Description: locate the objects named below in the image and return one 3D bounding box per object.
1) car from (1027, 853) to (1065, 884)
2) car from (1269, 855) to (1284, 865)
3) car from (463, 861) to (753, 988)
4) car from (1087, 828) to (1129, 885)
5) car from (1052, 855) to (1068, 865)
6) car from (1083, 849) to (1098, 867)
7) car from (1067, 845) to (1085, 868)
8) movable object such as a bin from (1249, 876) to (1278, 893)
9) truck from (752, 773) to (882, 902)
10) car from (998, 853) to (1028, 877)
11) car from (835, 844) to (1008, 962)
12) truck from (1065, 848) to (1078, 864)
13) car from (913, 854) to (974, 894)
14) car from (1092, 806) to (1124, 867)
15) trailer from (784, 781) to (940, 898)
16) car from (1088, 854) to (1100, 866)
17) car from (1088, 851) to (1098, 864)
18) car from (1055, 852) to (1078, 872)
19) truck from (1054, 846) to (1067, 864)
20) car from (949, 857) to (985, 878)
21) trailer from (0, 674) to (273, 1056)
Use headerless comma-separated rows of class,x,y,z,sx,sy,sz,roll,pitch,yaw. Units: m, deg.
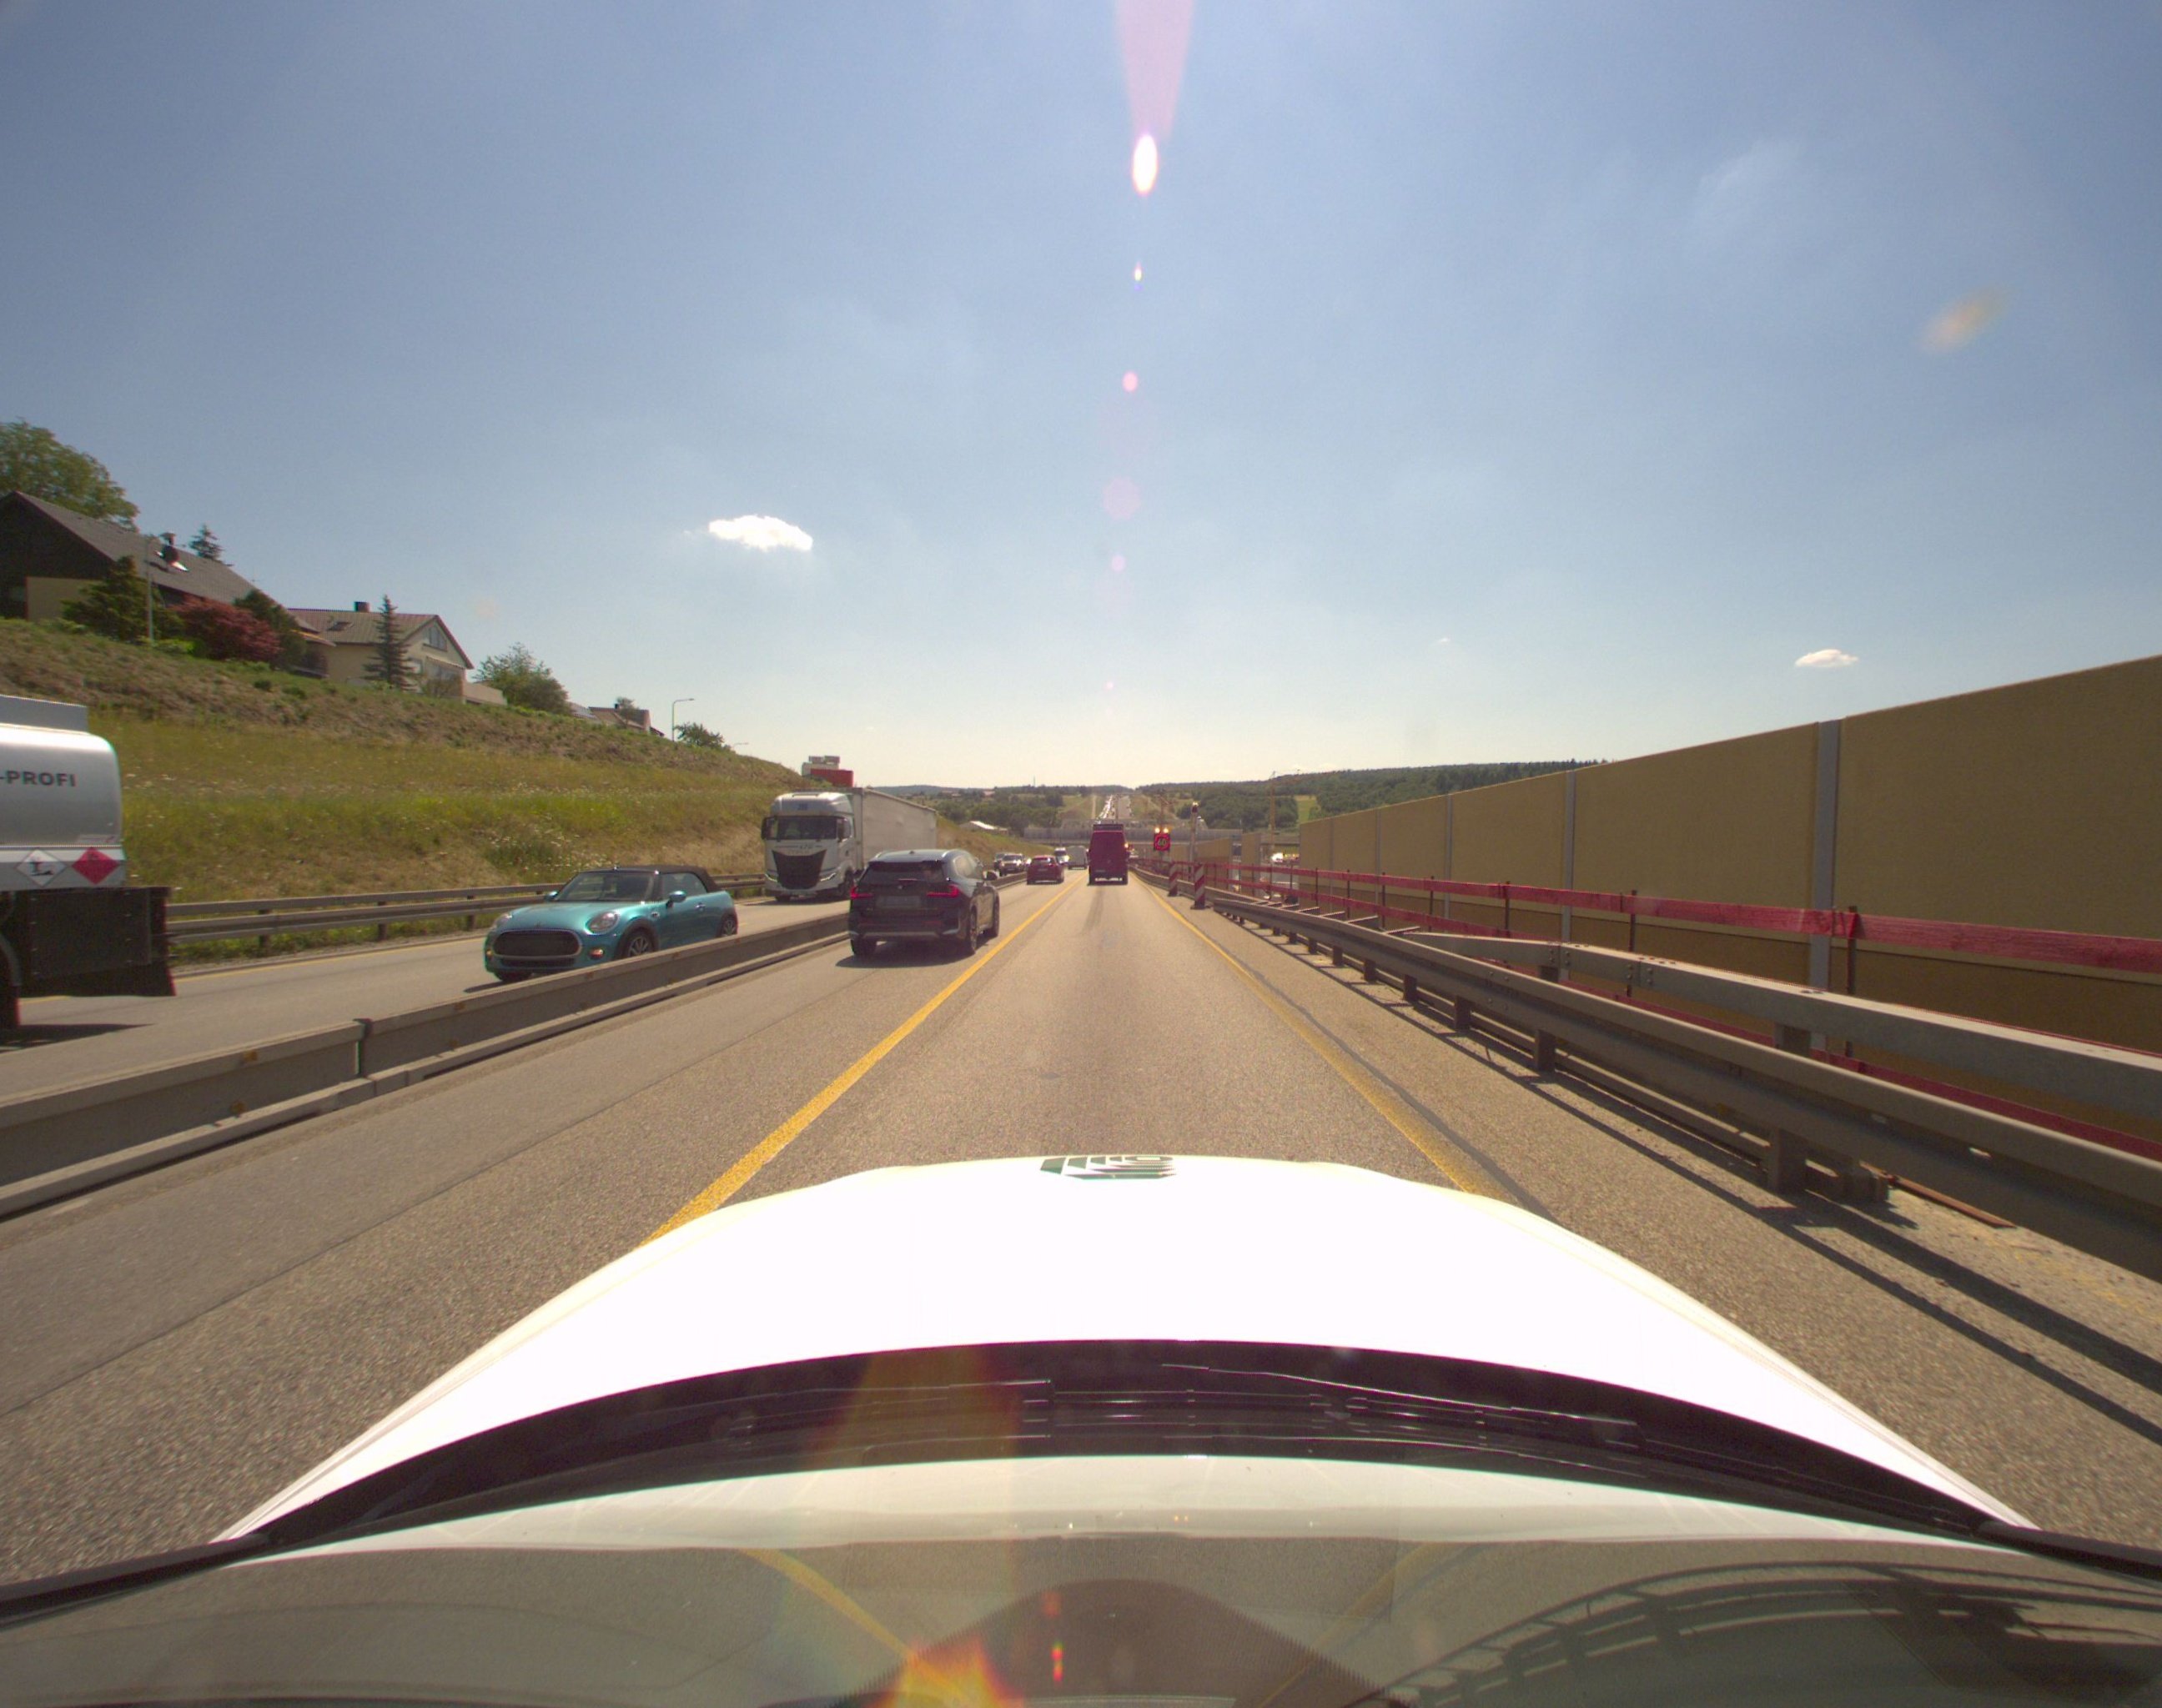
car,-1.811,0.730,43.087,1.770,1.517,4.205,-1,0,0
car,40.619,1.306,169.267,1.800,2.013,4.824,-1,0,0
car,-6.253,0.835,11.360,1.659,1.394,3.906,-1,0,1
car,1.394,0.123,41.971,1.981,2.690,4.625,-1,0,2
car,-3.081,0.853,120.135,1.948,1.499,5.092,0,0,2
car,1.299,0.522,107.873,1.769,2.330,4.207,-1,0,2
car,-0.567,0.288,89.677,1.769,2.441,4.207,-1,0,2
movable object such as a bin,29.564,4.978,132.276,3.150,2.446,7.899,1,0,2
truck,-9.286,-0.535,29.286,2.735,4.182,5.290,-1,0,2
car,-5.037,0.829,60.774,1.827,1.666,4.413,-1,0,0
car,-2.451,0.693,13.756,1.873,1.618,4.500,-1,0,2
truck,-2.055,0.364,178.578,2.529,3.374,7.040,-1,0,1
car,-5.448,0.755,32.711,1.663,1.466,4.002,-1,0,2
car,2.407,-1.451,72.984,2.611,5.032,10.400,-1,0,2
trailer,-9.107,-0.536,36.301,2.775,4.182,13.983,-1,0,1
car,1.962,0.896,124.023,1.769,1.670,4.030,-1,0,2
car,2.119,0.641,144.506,1.769,2.330,4.207,-1,0,2
car,-1.216,0.672,70.322,1.833,1.654,4.166,-2,0,1
truck,-4.643,0.166,187.214,2.688,4.050,3.956,-1,0,1
car,-8.506,0.971,61.145,1.987,1.507,4.719,0,0,1
trailer,-9.835,0.100,5.319,2.603,3.001,6.373,-1,0,2
